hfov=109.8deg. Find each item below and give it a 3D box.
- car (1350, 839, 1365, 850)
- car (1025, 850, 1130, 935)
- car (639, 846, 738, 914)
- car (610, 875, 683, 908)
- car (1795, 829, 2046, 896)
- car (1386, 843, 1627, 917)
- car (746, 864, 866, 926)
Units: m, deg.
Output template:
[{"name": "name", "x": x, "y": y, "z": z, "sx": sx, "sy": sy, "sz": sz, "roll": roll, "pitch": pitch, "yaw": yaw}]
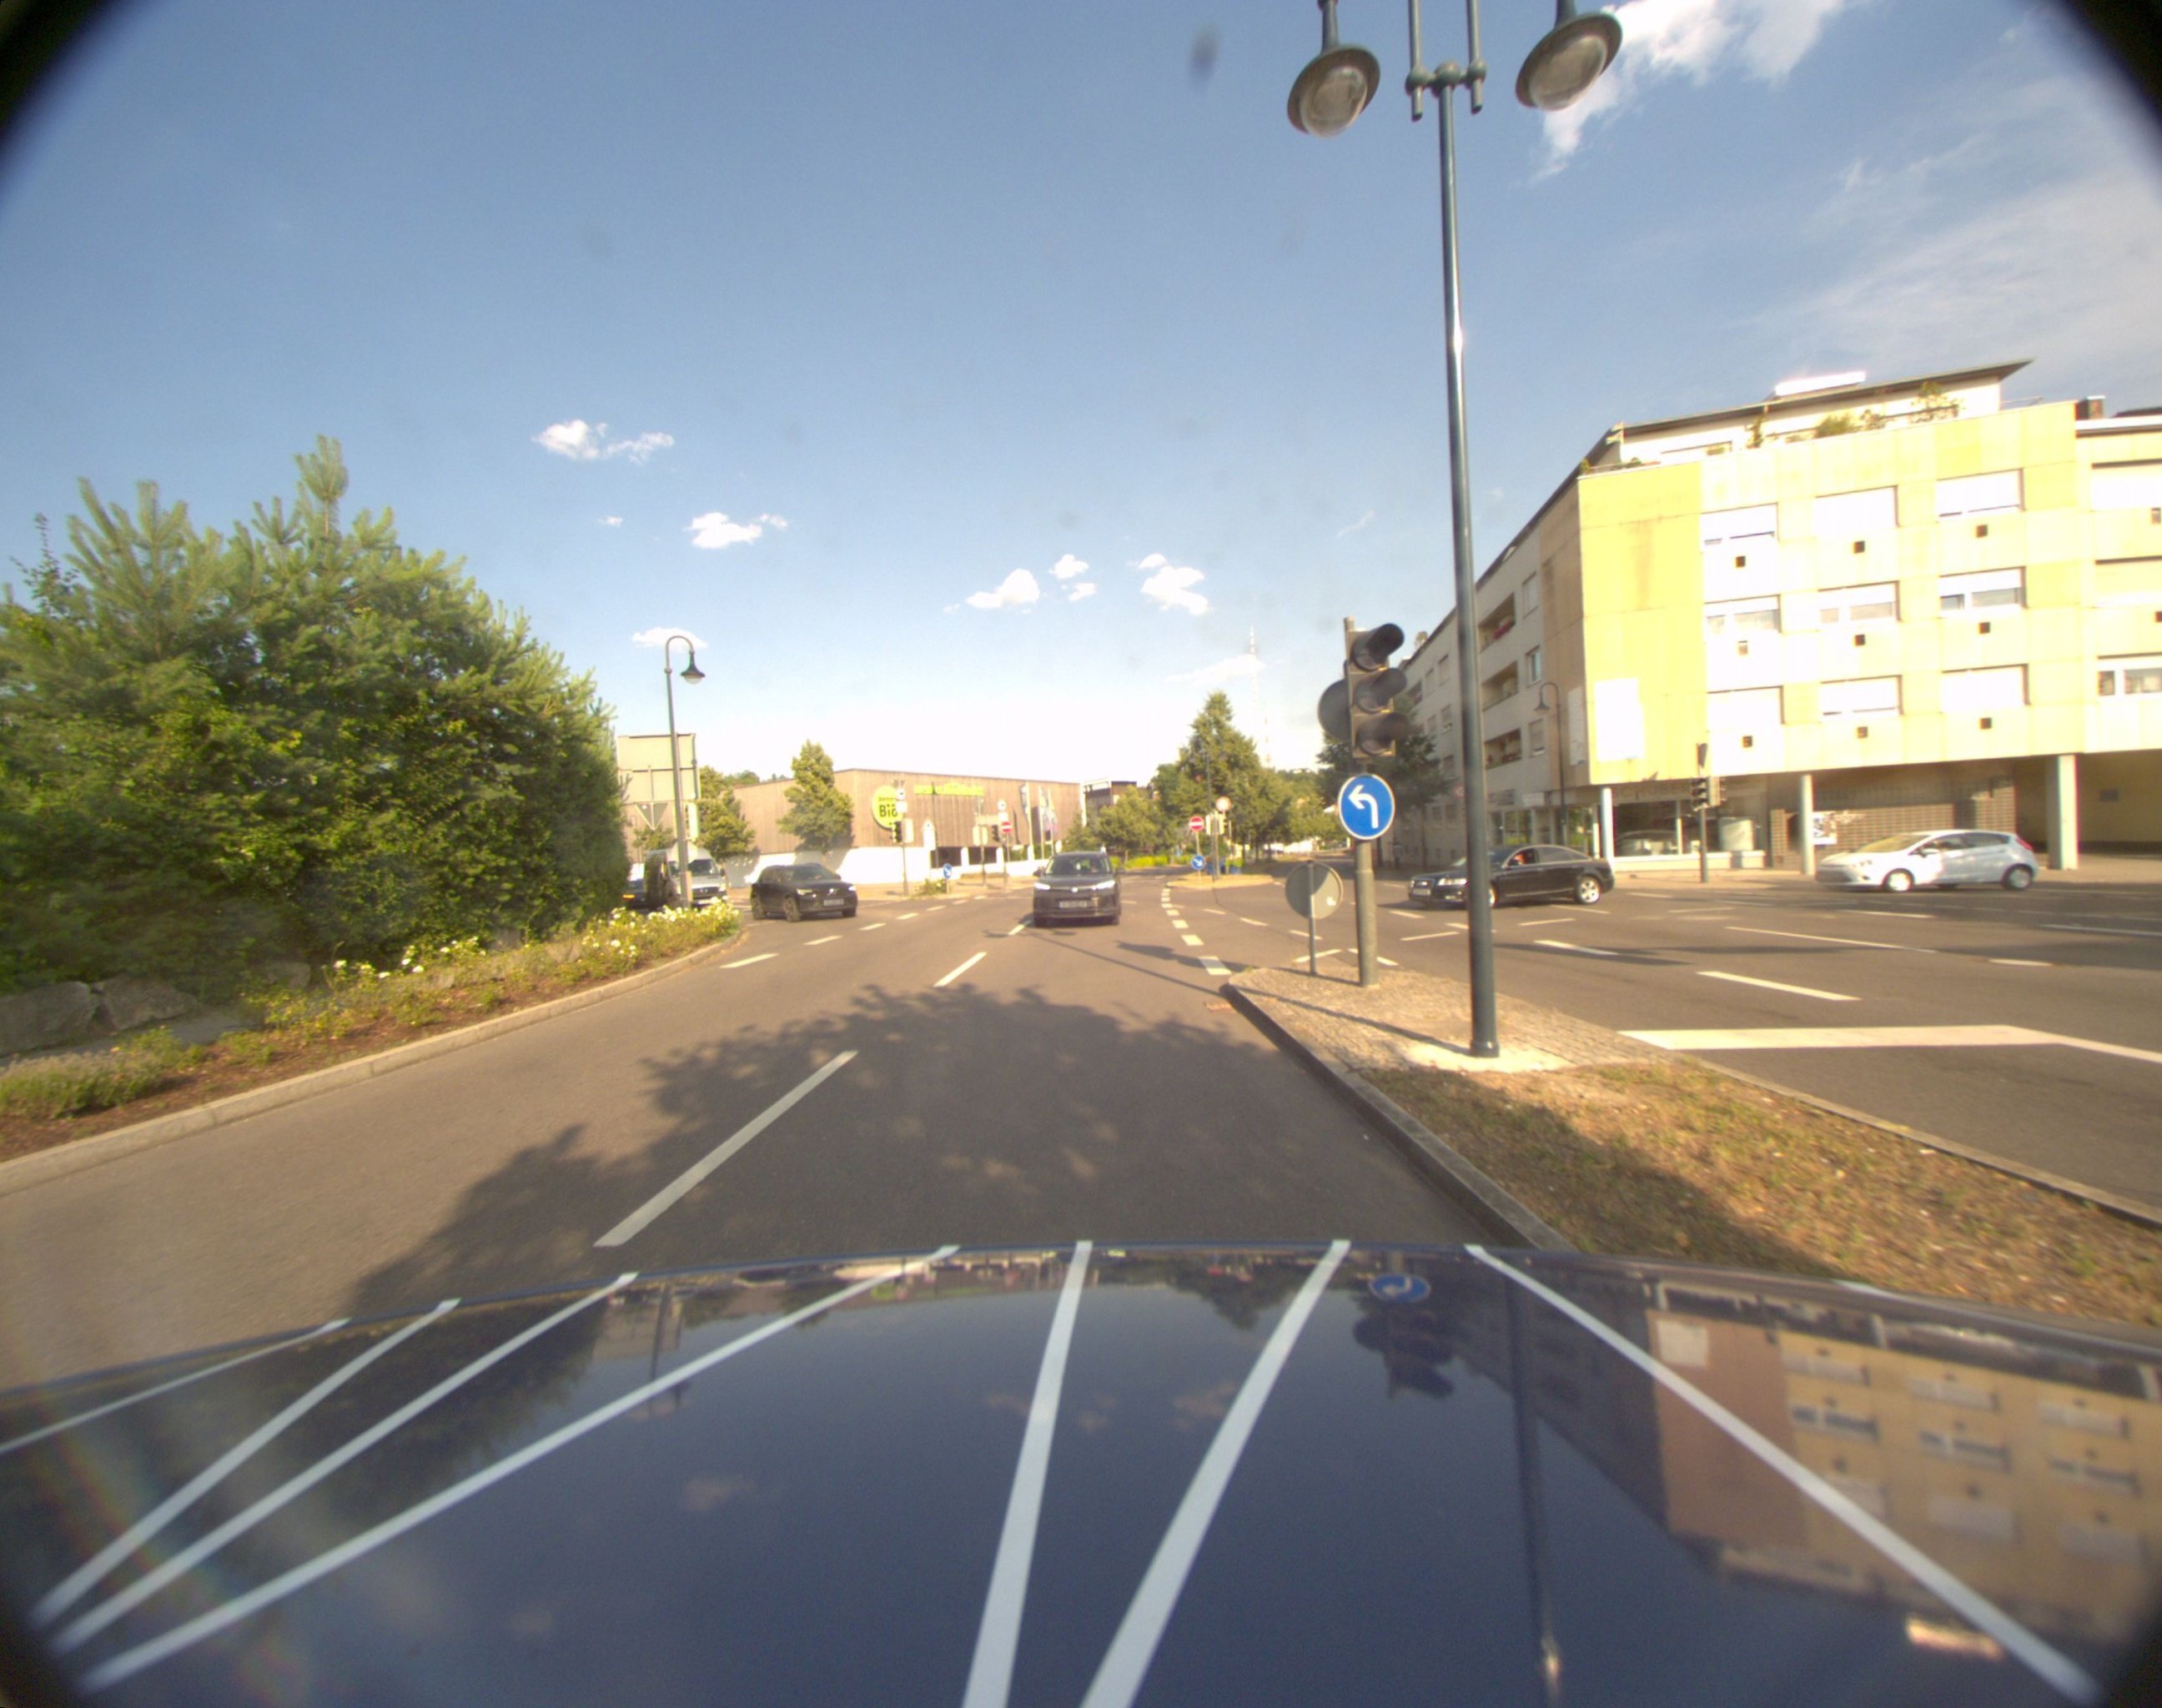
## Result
[{"name": "car", "x": 44.961, "y": -1.571, "z": 123.571, "sx": 1.854, "sy": 1.726, "sz": 4.930, "roll": -1, "pitch": 1, "yaw": 26}, {"name": "car", "x": 0.066, "y": 0.778, "z": 17.431, "sx": 1.724, "sy": 1.605, "sz": 4.263, "roll": -1, "pitch": 1, "yaw": 9}, {"name": "car", "x": -16.387, "y": 1.033, "z": 31.557, "sx": 2.198, "sy": 2.507, "sz": 5.844, "roll": -3, "pitch": 1, "yaw": -41}, {"name": "car", "x": -21.585, "y": 1.838, "z": 37.668, "sx": 3.989, "sy": 1.444, "sz": 1.862, "roll": -2, "pitch": 1, "yaw": 40}, {"name": "car", "x": 20.061, "y": 0.190, "z": 18.316, "sx": 3.821, "sy": 1.428, "sz": 1.868, "roll": -2, "pitch": 1, "yaw": 5}, {"name": "car", "x": 9.793, "y": 0.544, "z": 17.581, "sx": 4.876, "sy": 1.428, "sz": 1.915, "roll": -2, "pitch": 1, "yaw": -14}, {"name": "car", "x": -8.100, "y": 1.127, "z": 22.162, "sx": 1.796, "sy": 1.558, "sz": 4.259, "roll": -3, "pitch": 0, "yaw": -41}]
